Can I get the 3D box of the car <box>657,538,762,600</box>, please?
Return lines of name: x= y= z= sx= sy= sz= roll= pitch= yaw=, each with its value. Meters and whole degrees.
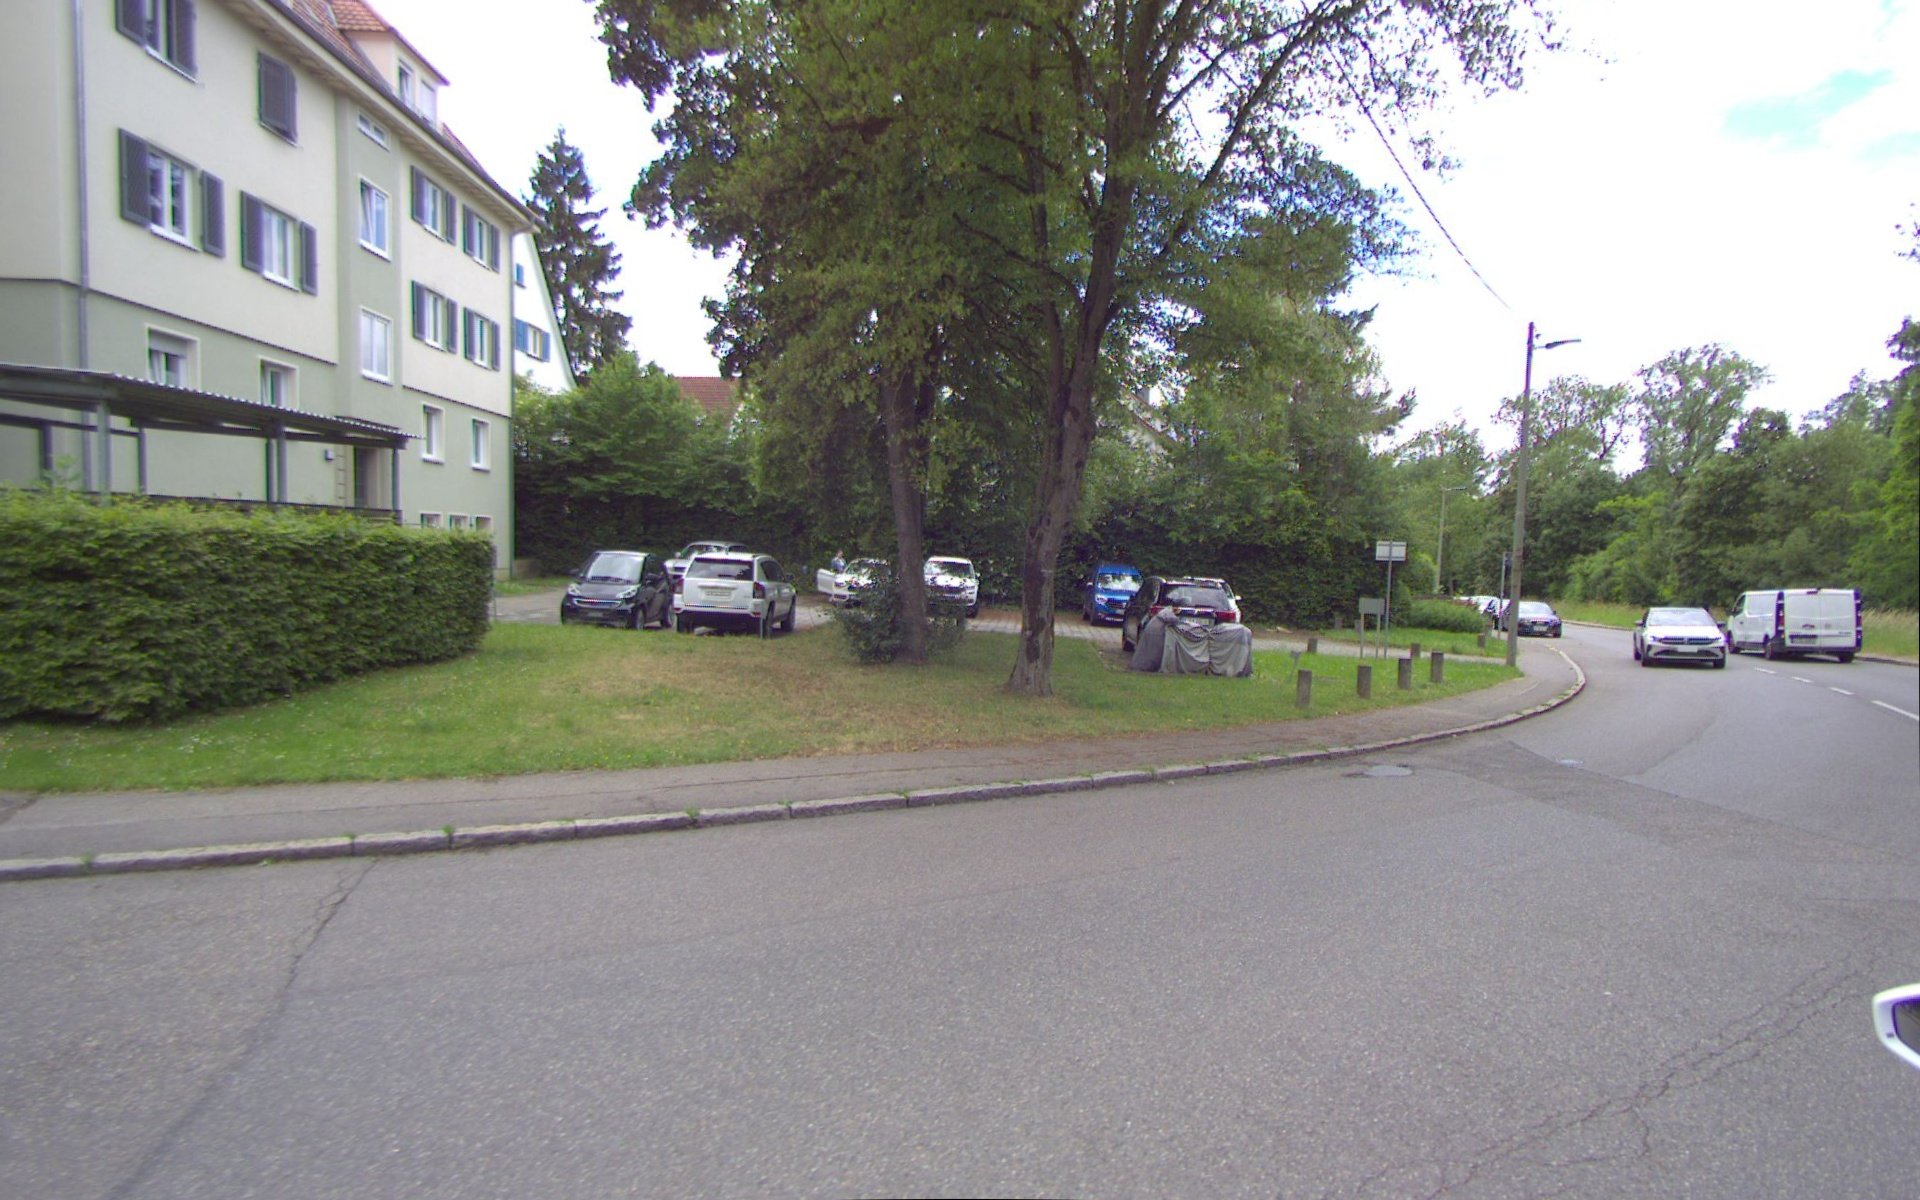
car: x=-7.748 y=-0.999 z=31.563 sx=1.712 sy=1.754 sz=4.628 roll=2 pitch=3 yaw=6

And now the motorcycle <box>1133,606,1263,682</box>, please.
motorcycle: x=4.080 y=0.739 z=17.365 sx=2.025 sy=1.167 sz=0.865 roll=2 pitch=2 yaw=4

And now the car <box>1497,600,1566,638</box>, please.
car: x=23.987 y=0.743 z=42.314 sx=1.706 sy=1.437 sz=4.503 roll=1 pitch=1 yaw=19

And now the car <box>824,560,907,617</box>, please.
car: x=-2.845 y=-0.427 z=31.002 sx=1.842 sy=1.513 sz=4.199 roll=4 pitch=3 yaw=3

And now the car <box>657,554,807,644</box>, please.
car: x=-4.490 y=-0.125 z=20.508 sx=1.918 sy=1.554 sz=4.589 roll=2 pitch=3 yaw=1

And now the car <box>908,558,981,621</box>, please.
car: x=-0.416 y=-0.394 z=30.399 sx=1.969 sy=1.700 sz=4.496 roll=2 pitch=3 yaw=0

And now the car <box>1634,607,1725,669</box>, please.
car: x=18.925 y=0.962 z=26.561 sx=1.700 sy=1.476 sz=4.068 roll=-2 pitch=-1 yaw=33

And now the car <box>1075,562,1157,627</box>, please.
car: x=4.640 y=-0.228 z=30.421 sx=1.713 sy=1.756 sz=4.262 roll=2 pitch=3 yaw=-1

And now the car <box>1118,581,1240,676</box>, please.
car: x=4.309 y=0.468 z=20.378 sx=1.712 sy=1.615 sz=4.334 roll=2 pitch=2 yaw=3

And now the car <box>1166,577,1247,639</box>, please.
car: x=7.286 y=0.176 z=30.057 sx=1.712 sy=1.615 sz=4.273 roll=2 pitch=2 yaw=5

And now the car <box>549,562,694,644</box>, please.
car: x=-6.647 y=-0.013 z=20.092 sx=1.478 sy=1.418 sz=3.602 roll=2 pitch=3 yaw=3

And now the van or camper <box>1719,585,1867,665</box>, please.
van or camper: x=23.701 y=0.621 z=28.830 sx=1.987 sy=1.983 sz=4.891 roll=2 pitch=2 yaw=24
